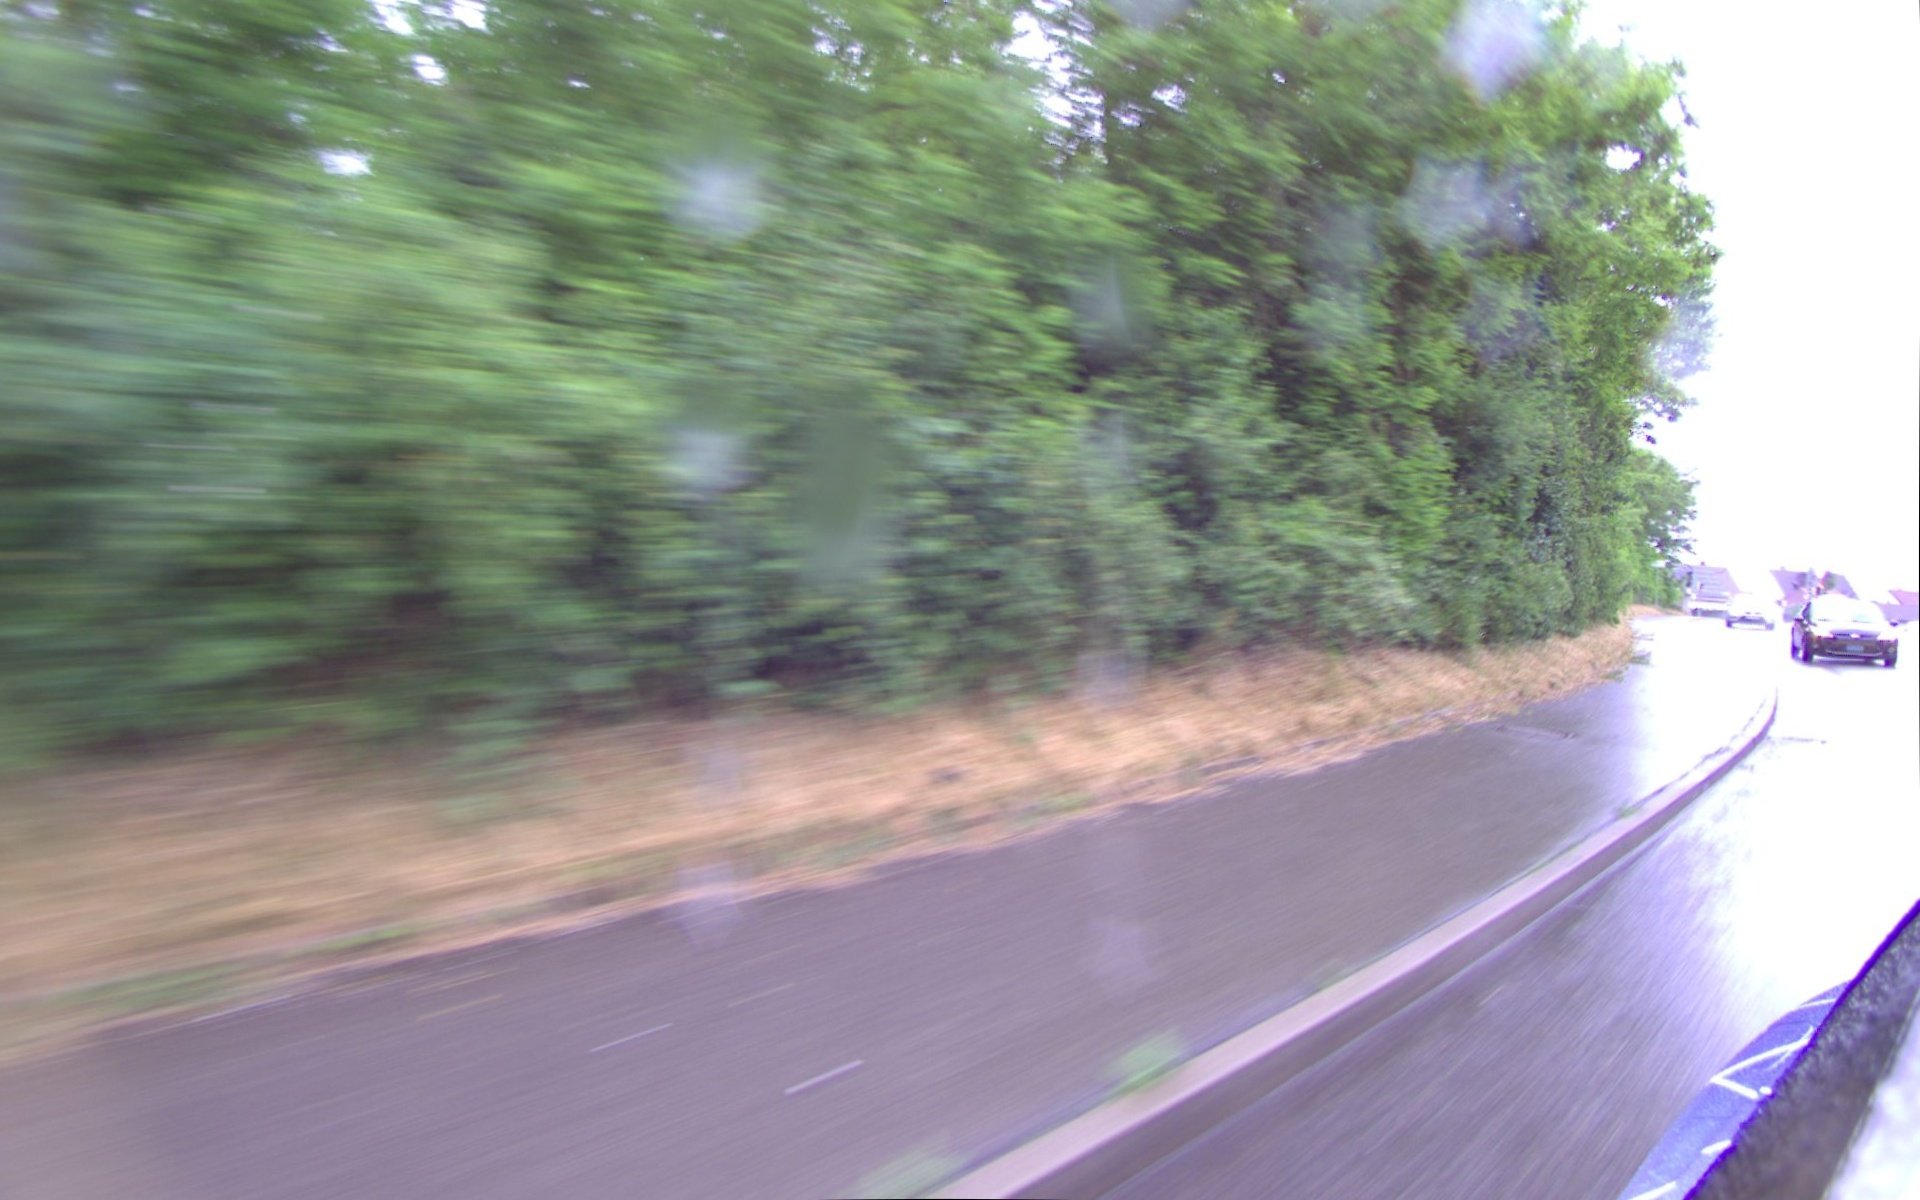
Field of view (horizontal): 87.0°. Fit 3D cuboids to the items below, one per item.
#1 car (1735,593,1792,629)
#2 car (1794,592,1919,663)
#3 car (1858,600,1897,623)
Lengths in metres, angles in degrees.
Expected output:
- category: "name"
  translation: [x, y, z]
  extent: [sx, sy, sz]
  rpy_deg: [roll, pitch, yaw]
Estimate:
- category: "car"
  translation: [36.560, 0.469, 46.138]
  extent: [1.866, 1.458, 4.319]
  rpy_deg: [5, 3, 37]
- category: "car"
  translation: [21.572, 0.584, 24.425]
  extent: [1.864, 1.459, 4.322]
  rpy_deg: [3, 2, 35]
- category: "car"
  translation: [59.008, 0.721, 65.126]
  extent: [1.732, 1.321, 3.666]
  rpy_deg: [2, 2, 41]
